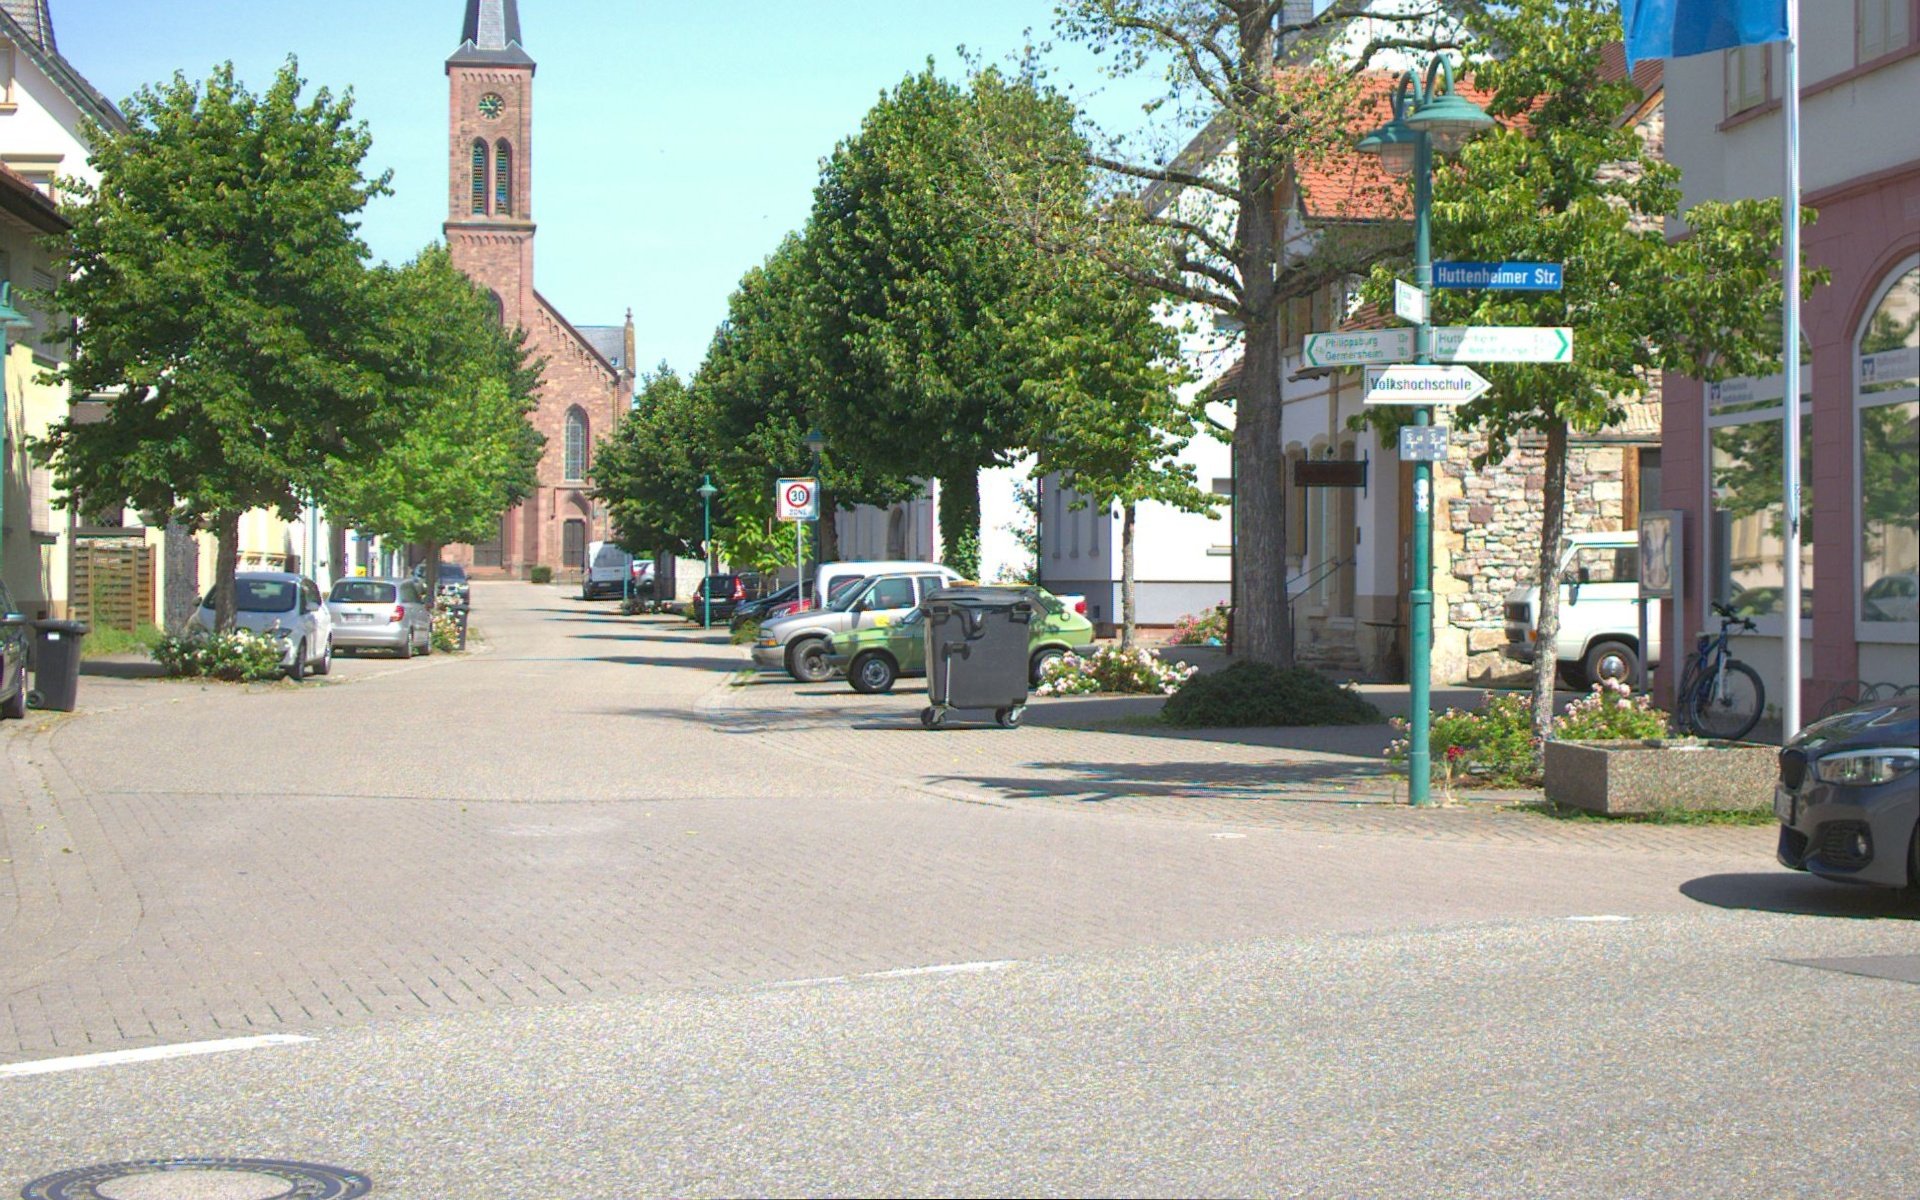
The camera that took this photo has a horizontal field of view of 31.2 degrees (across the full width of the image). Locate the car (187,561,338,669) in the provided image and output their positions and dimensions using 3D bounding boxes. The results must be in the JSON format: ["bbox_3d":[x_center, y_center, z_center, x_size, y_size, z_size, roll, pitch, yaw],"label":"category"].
[{"bbox_3d":[-10.520,0.191,52.071,1.993,1.568,4.001,0,1,-8],"label":"car"}]

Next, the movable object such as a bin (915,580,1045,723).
[{"bbox_3d":[0.183,0.481,32.495,1.188,1.333,0.789,0,1,-3],"label":"movable object such as a bin"}]

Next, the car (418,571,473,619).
[{"bbox_3d":[-19.995,-0.194,133.474,1.993,1.809,4.001,0,1,-10],"label":"car"}]

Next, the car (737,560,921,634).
[{"bbox_3d":[-2.974,-0.086,77.552,3.986,1.634,2.000,0,1,-7],"label":"car"}]

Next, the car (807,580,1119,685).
[{"bbox_3d":[0.000,0.418,45.509,3.923,1.340,2.000,0,1,-6],"label":"car"}]

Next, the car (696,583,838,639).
[{"bbox_3d":[-5.684,0.313,101.062,3.986,1.612,2.001,0,1,-8],"label":"car"}]

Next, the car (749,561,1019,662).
[{"bbox_3d":[-1.251,0.172,54.967,4.149,1.563,2.000,0,1,-6],"label":"car"}]

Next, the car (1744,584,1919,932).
[{"bbox_3d":[5.594,0.634,14.453,4.255,1.371,1.741,0,1,4],"label":"car"}]

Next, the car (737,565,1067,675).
[{"bbox_3d":[-0.906,0.290,51.874,4.802,1.618,2.000,0,1,-6],"label":"car"}]

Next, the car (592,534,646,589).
[{"bbox_3d":[-14.902,-1.678,150.024,2.244,2.271,4.503,2,0,-6],"label":"car"}]

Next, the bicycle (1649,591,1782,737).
[{"bbox_3d":[6.154,0.504,28.084,0.593,1.132,1.748,0,1,-4],"label":"bicycle"}]

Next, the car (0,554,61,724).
[{"bbox_3d":[-9.383,0.299,31.643,1.984,1.435,5.213,0,1,-13],"label":"car"}]

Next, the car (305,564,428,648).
[{"bbox_3d":[-10.982,0.085,63.413,1.993,1.459,4.001,1,1,-13],"label":"car"}]

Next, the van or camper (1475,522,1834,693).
[{"bbox_3d":[8.345,0.070,41.587,3.987,2.007,2.000,0,1,2],"label":"van or camper"}]
